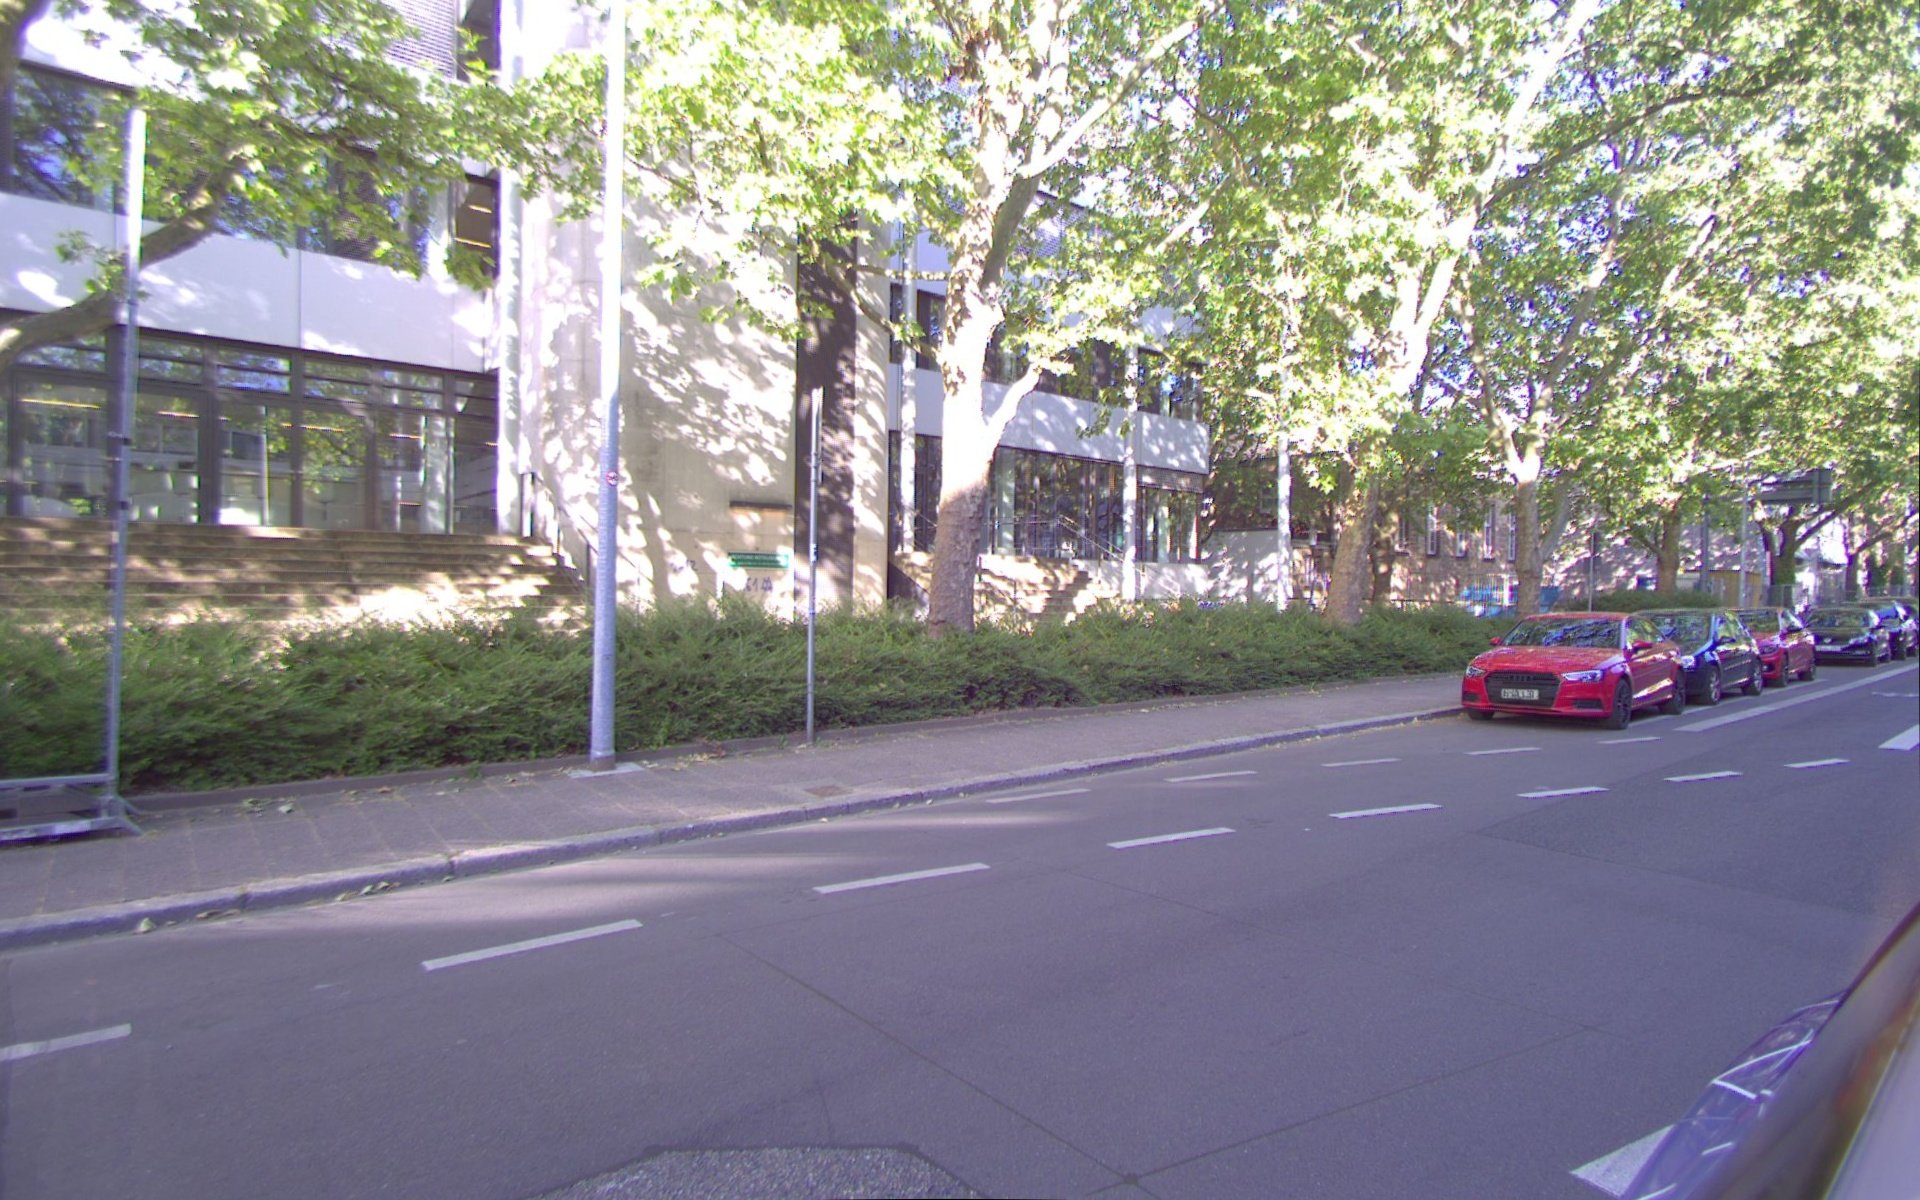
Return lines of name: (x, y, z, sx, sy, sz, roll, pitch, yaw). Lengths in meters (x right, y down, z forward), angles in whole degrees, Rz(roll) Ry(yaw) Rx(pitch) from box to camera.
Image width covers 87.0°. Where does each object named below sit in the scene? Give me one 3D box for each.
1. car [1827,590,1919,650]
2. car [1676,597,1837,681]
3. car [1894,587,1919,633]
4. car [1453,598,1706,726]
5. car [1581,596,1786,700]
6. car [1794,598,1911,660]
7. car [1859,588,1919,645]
car: (26.631, 0.526, 29.194, 4.158, 1.601, 1.847, 0, 1, -41)
car: (15.793, 0.690, 20.005, 3.930, 1.456, 1.789, 0, 1, -41)
car: (35.724, 0.364, 37.076, 4.004, 1.638, 1.797, 0, 1, -41)
car: (8.348, 0.709, 13.501, 4.101, 1.443, 1.773, 0, -1, -42)
car: (11.928, 0.686, 16.607, 3.929, 1.475, 1.812, 0, 1, -40)
car: (22.967, 0.682, 25.996, 3.930, 1.456, 1.744, 0, 1, -41)
car: (31.066, 0.483, 33.055, 4.188, 1.747, 1.997, -1, 0, -41)
